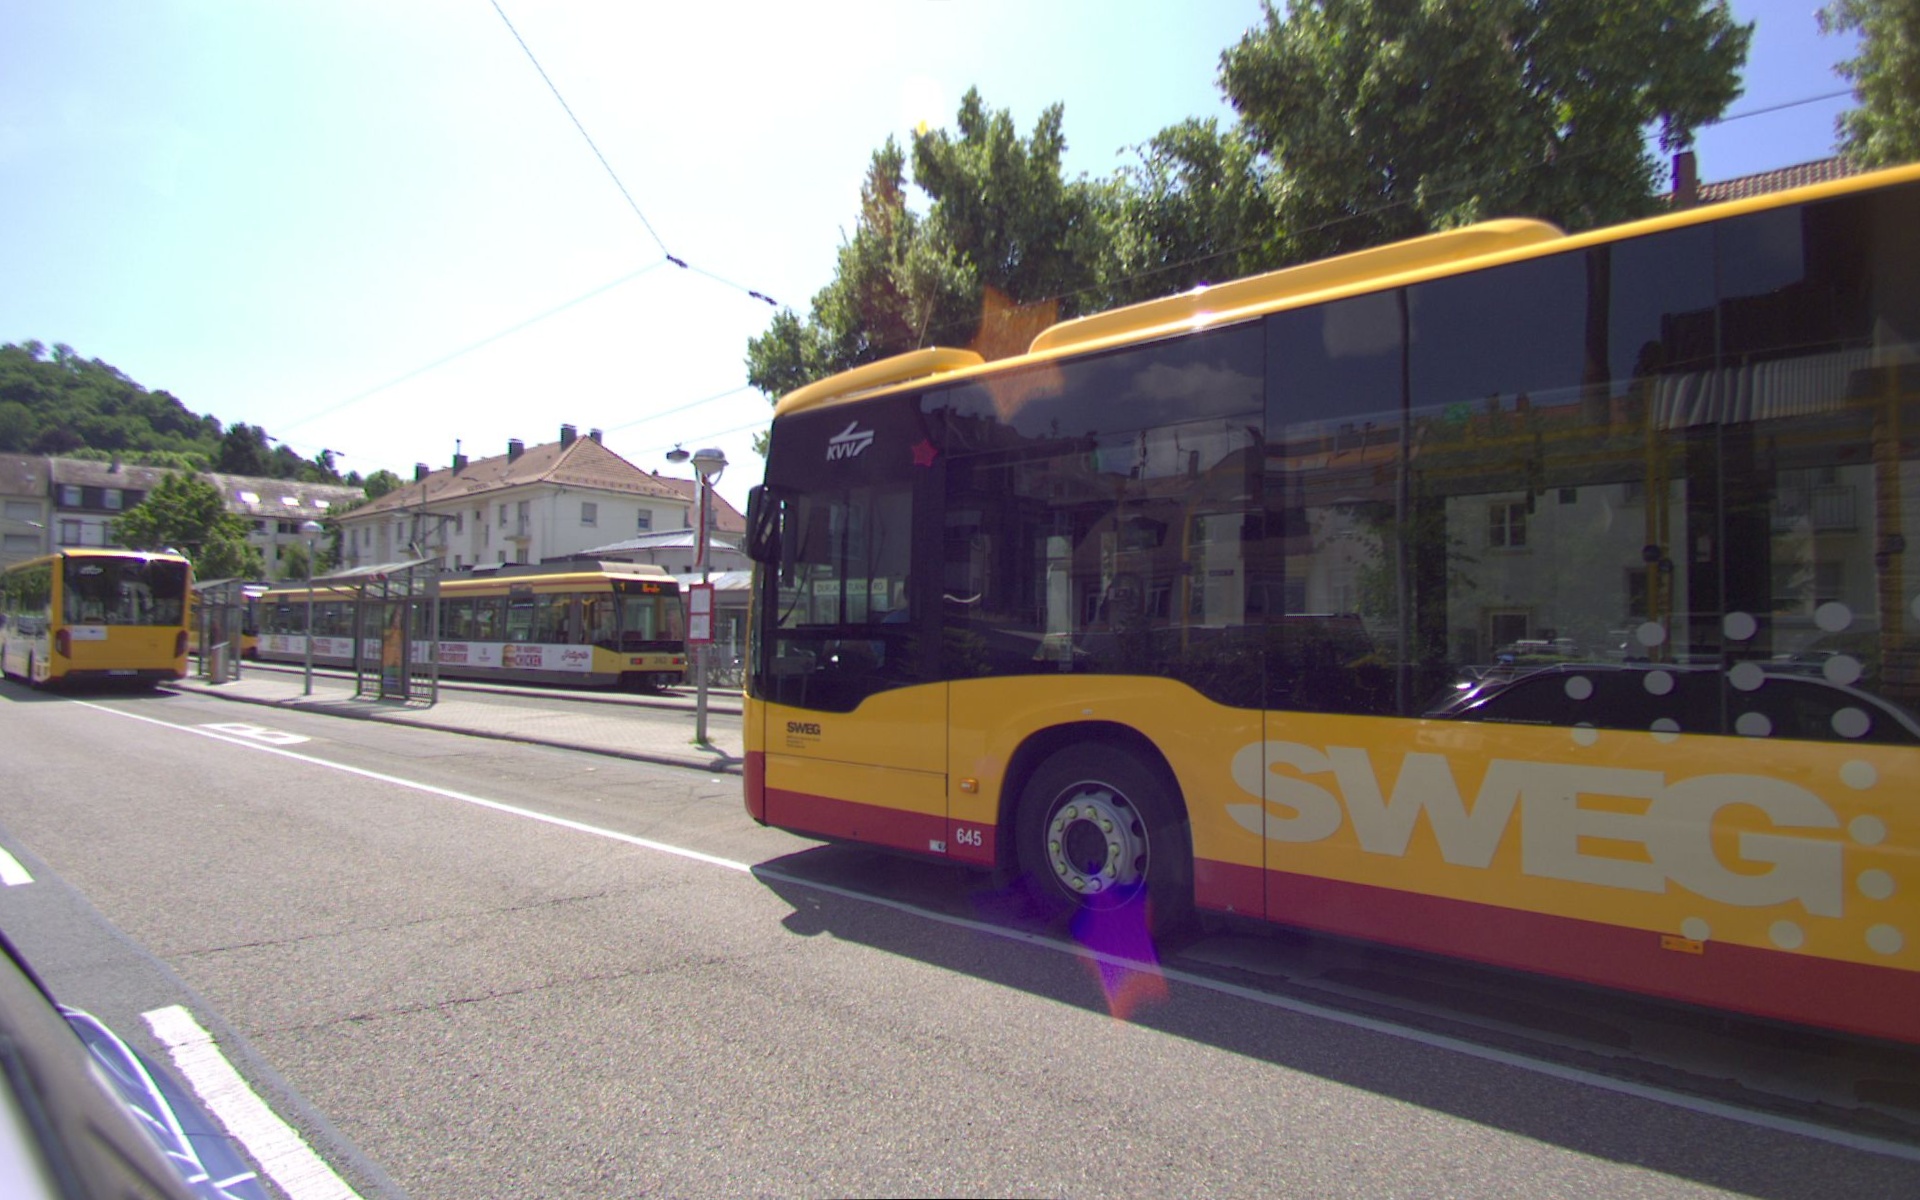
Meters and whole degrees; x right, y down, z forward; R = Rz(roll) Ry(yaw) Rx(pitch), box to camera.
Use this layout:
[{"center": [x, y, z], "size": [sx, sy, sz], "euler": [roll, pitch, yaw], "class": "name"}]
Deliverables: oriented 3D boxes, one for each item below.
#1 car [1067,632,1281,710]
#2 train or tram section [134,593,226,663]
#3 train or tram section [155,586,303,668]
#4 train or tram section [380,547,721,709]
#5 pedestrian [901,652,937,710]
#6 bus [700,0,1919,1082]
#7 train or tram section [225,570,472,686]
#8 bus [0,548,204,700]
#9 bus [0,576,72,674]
[{"center": [4.250, 1.364, 20.467], "size": [3.998, 1.283, 1.552], "euler": [0, 0, 41], "class": "car"}, {"center": [-41.672, 1.514, 54.073], "size": [4.414, 3.522, 2.933], "euler": [-1, -3, 41], "class": "train or tram section"}, {"center": [-35.277, 1.224, 48.534], "size": [12.649, 3.522, 2.933], "euler": [-1, -1, 41], "class": "train or tram section"}, {"center": [-12.188, 0.715, 28.655], "size": [13.985, 3.670, 2.933], "euler": [-1, -1, 41], "class": "train or tram section"}, {"center": [-0.940, 1.830, 23.019], "size": [0.540, 1.260, 0.608], "euler": [0, 0, 43], "class": "pedestrian"}, {"center": [3.935, -0.365, 3.380], "size": [12.109, 3.272, 2.878], "euler": [-1, -1, 40], "class": "bus"}, {"center": [-24.040, 0.986, 38.879], "size": [17.341, 3.670, 2.933], "euler": [-1, -1, 41], "class": "train or tram section"}, {"center": [-23.398, 0.490, 26.871], "size": [12.191, 3.272, 2.868], "euler": [0, 0, 41], "class": "bus"}, {"center": [-38.072, 1.033, 39.923], "size": [12.031, 3.453, 2.878], "euler": [-2, -2, 40], "class": "bus"}]
